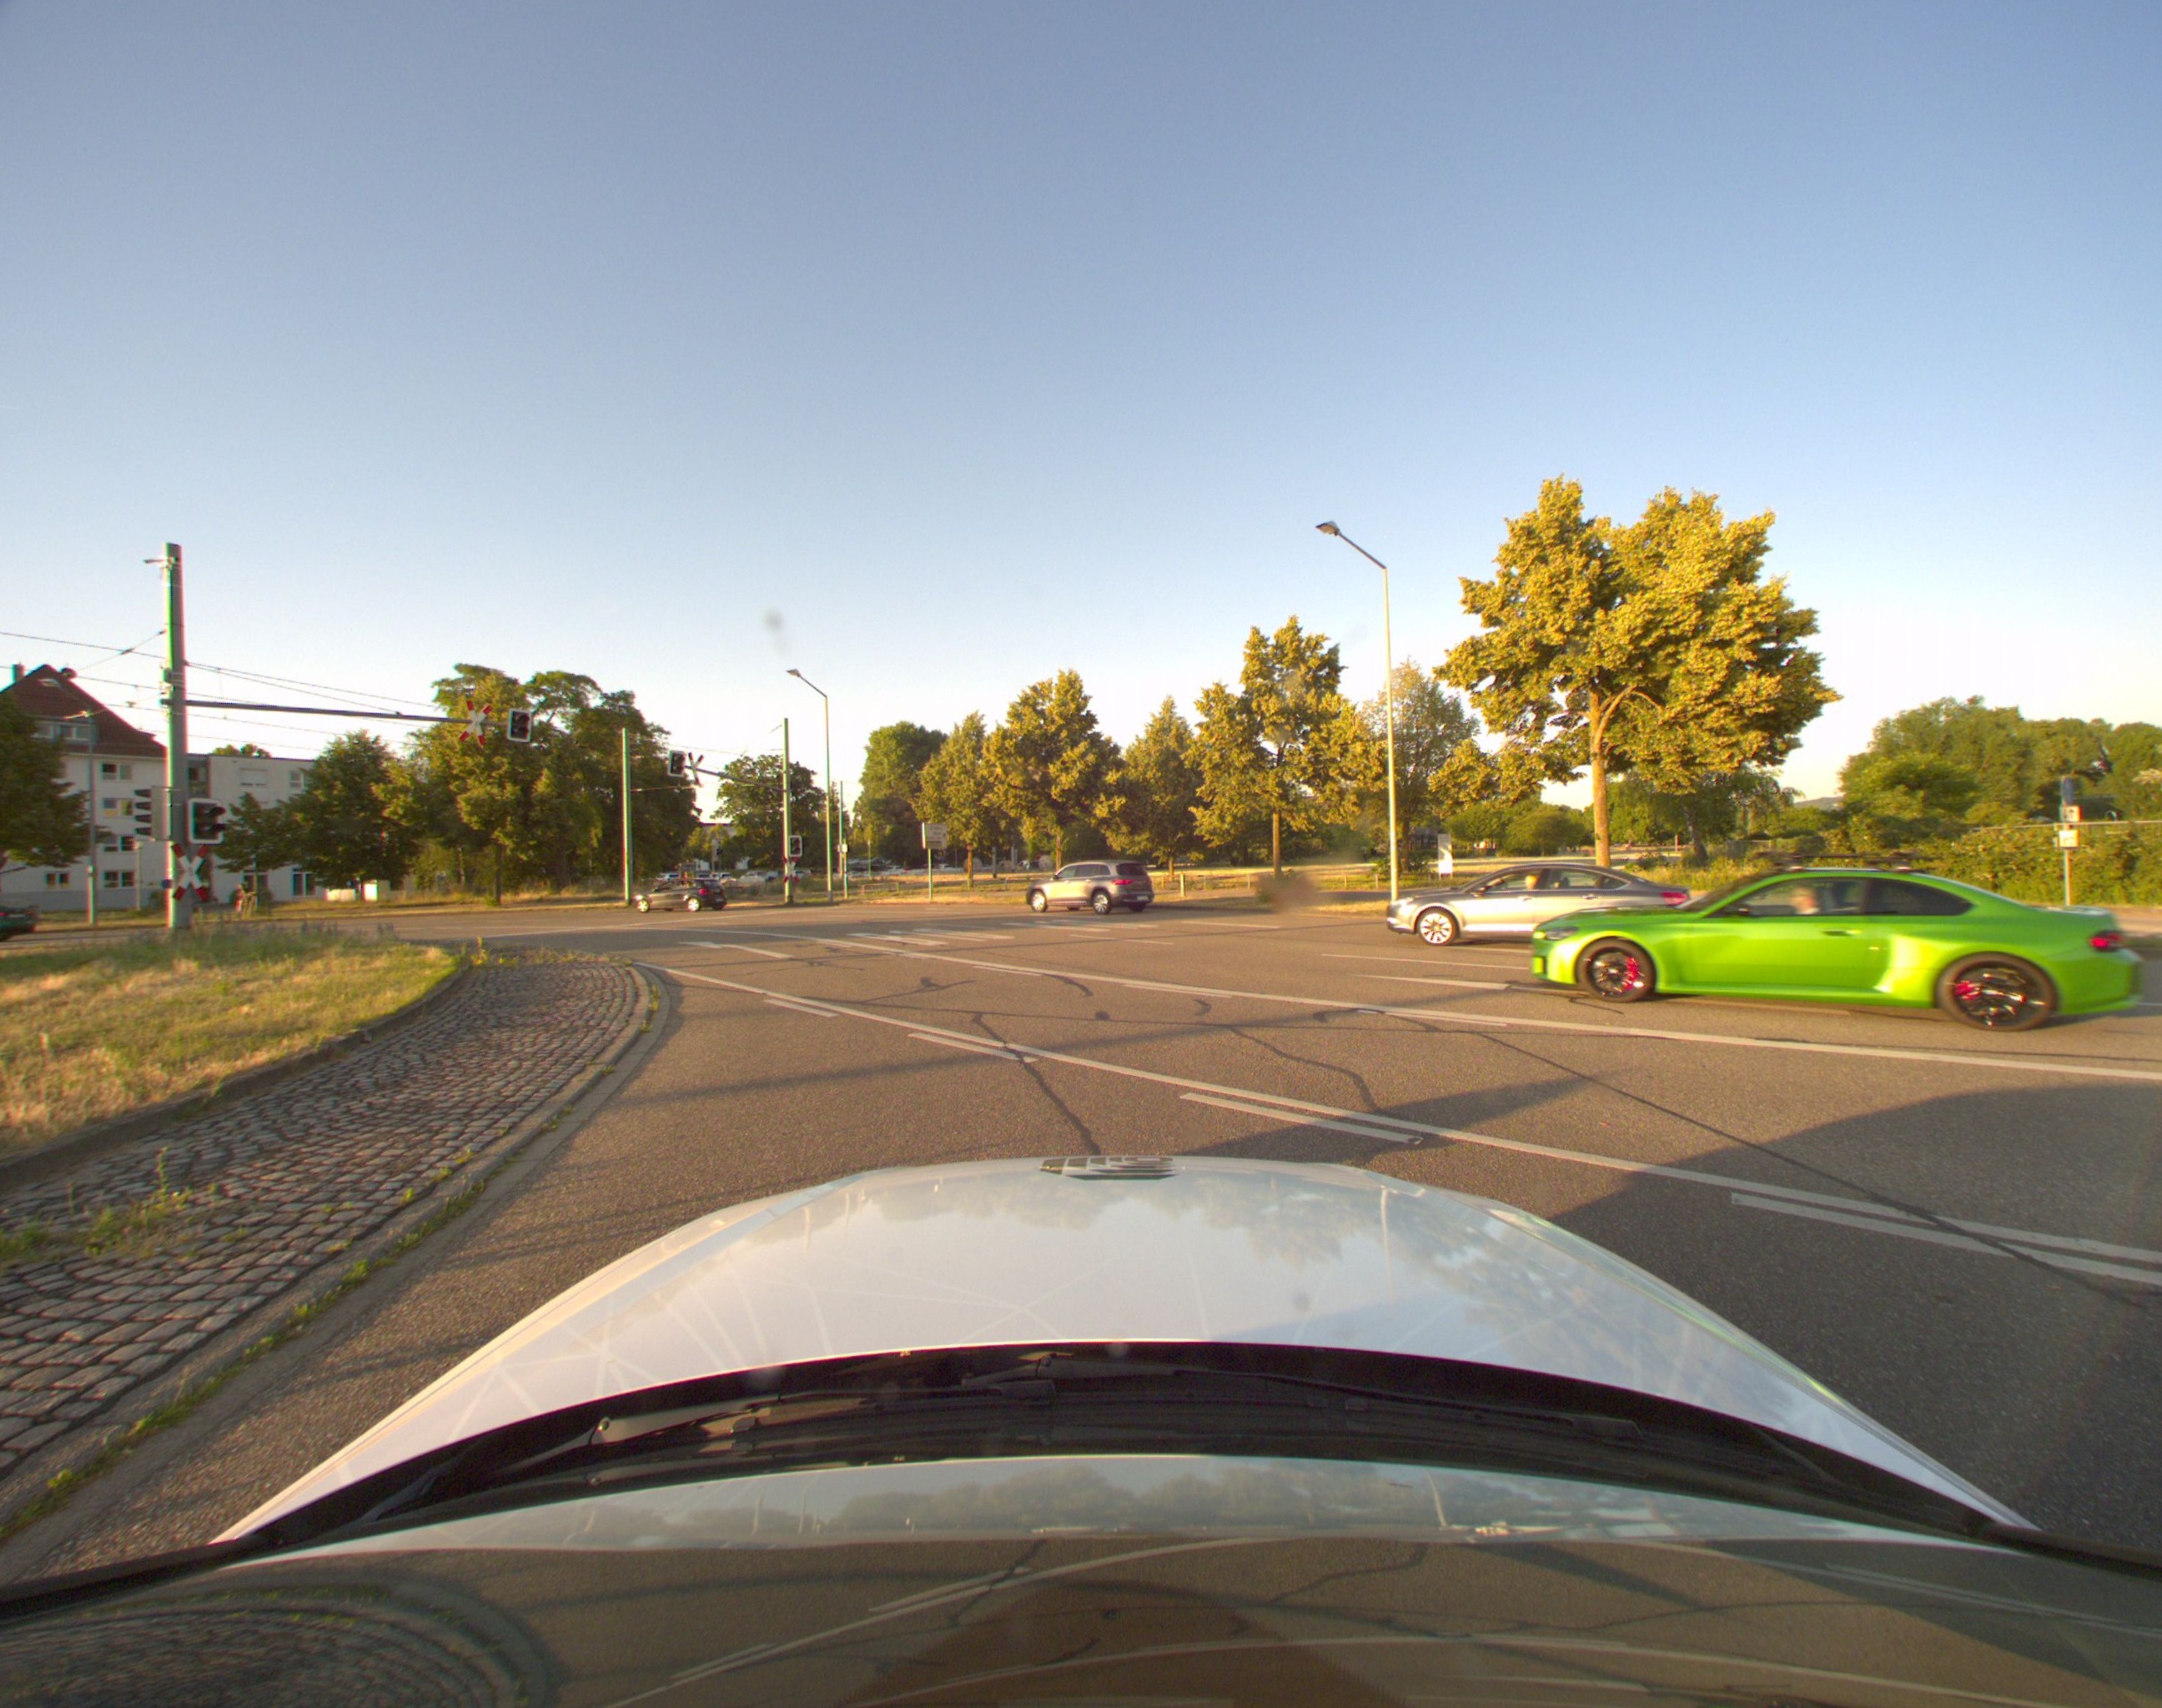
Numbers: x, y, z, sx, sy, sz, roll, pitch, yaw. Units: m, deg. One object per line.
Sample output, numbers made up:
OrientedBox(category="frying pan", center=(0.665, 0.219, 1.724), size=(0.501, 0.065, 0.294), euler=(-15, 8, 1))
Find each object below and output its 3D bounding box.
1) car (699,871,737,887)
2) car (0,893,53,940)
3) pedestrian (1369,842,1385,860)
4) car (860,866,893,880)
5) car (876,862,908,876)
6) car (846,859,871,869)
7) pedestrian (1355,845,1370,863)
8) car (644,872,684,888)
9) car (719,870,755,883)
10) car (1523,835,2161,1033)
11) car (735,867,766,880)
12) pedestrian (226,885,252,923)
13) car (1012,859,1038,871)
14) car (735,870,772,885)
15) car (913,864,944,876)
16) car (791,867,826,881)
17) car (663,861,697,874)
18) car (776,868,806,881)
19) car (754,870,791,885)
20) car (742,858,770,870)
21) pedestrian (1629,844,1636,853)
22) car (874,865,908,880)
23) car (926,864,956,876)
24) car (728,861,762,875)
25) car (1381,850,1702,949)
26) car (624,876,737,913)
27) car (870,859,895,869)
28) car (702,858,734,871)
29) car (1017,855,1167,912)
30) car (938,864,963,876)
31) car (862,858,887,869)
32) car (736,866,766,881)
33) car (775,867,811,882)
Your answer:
OrientedBox(category="car", center=(-39.026, 2.666, 87.535), size=(3.948, 1.604, 2.013), euler=(-2, 0, 34))
OrientedBox(category="car", center=(-35.628, 2.015, 24.969), size=(4.731, 1.371, 1.988), euler=(-2, 0, -18))
OrientedBox(category="pedestrian", center=(26.639, -0.276, 73.317), size=(1.064, 1.617, 0.911), euler=(-2, 0, 4))
OrientedBox(category="car", center=(-26.677, 2.463, 105.981), size=(3.948, 1.604, 2.013), euler=(-2, 0, 34))
OrientedBox(category="car", center=(-29.386, 2.391, 126.693), size=(4.578, 2.013, 1.995), euler=(-2, 0, -7))
OrientedBox(category="car", center=(-41.760, 1.860, 153.014), size=(1.974, 1.816, 4.026), euler=(-2, 0, 37))
OrientedBox(category="pedestrian", center=(25.775, -0.015, 74.583), size=(1.064, 1.617, 0.911), euler=(-2, 0, 4))
OrientedBox(category="car", center=(-42.656, 2.658, 83.317), size=(3.948, 1.604, 2.013), euler=(-2, 0, 34))
OrientedBox(category="car", center=(-46.121, 2.993, 109.137), size=(1.878, 1.662, 4.026), euler=(-2, 0, 37))
OrientedBox(category="car", center=(7.260, 0.676, 8.532), size=(4.427, 1.579, 2.013), euler=(-2, 0, 33))
OrientedBox(category="car", center=(-46.236, 2.761, 113.936), size=(4.005, 1.662, 1.984), euler=(-2, 0, -24))
OrientedBox(category="pedestrian", center=(-43.348, 2.557, 41.939), size=(0.666, 1.893, 0.619), euler=(0, -1, -4))
OrientedBox(category="car", center=(-7.962, 1.503, 115.259), size=(1.748, 1.618, 3.954), euler=(-1, 0, -39))
OrientedBox(category="car", center=(-37.057, 2.687, 92.054), size=(3.948, 1.604, 2.013), euler=(-2, 0, 34))
OrientedBox(category="car", center=(-21.475, 2.294, 114.781), size=(3.948, 1.604, 2.013), euler=(-2, 0, 34))
OrientedBox(category="car", center=(-32.640, 2.439, 97.603), size=(3.948, 1.604, 2.013), euler=(-2, 0, 34))
OrientedBox(category="car", center=(-65.673, 2.207, 133.314), size=(1.974, 2.013, 4.627), euler=(-2, 0, 32))
OrientedBox(category="car", center=(-41.307, 2.860, 115.988), size=(4.001, 1.662, 1.889), euler=(-2, 0, -20))
OrientedBox(category="car", center=(-35.512, 2.689, 93.664), size=(3.948, 1.604, 2.013), euler=(-2, 0, 34))
OrientedBox(category="car", center=(-57.848, 1.777, 144.924), size=(1.974, 2.013, 4.143), euler=(-2, 0, 36))
OrientedBox(category="pedestrian", center=(106.040, -0.982, 156.553), size=(0.984, 1.661, 0.844), euler=(-1, -1, -44))
OrientedBox(category="car", center=(-27.659, 2.661, 118.506), size=(4.578, 2.013, 1.995), euler=(-2, 0, -7))
OrientedBox(category="car", center=(-20.000, 2.350, 116.476), size=(3.948, 1.604, 2.013), euler=(-2, 0, 34))
OrientedBox(category="car", center=(-51.891, 2.098, 125.794), size=(1.974, 2.013, 4.627), euler=(-2, 0, 32))
OrientedBox(category="car", center=(7.885, 0.729, 14.179), size=(4.610, 1.464, 1.899), euler=(-2, -1, 37))
OrientedBox(category="car", center=(-16.805, 1.691, 34.216), size=(3.961, 1.354, 1.700), euler=(-2, 2, 11))
OrientedBox(category="car", center=(-35.694, 1.862, 146.430), size=(3.964, 1.706, 2.005), euler=(-2, 0, 8))
OrientedBox(category="car", center=(-61.935, 1.762, 139.053), size=(1.974, 2.013, 4.628), euler=(-2, 0, 36))
OrientedBox(category="car", center=(0.289, 0.912, 26.069), size=(4.467, 1.637, 2.013), euler=(-2, 0, 40))
OrientedBox(category="car", center=(-20.850, 2.504, 129.983), size=(2.008, 1.752, 4.549), euler=(-1, 1, -35))
OrientedBox(category="car", center=(-37.971, 1.751, 150.036), size=(1.975, 2.013, 4.025), euler=(-2, 0, 42))
OrientedBox(category="car", center=(-47.786, 2.749, 117.908), size=(4.006, 2.013, 1.984), euler=(-2, 0, -24))
OrientedBox(category="car", center=(-33.705, 2.429, 95.424), size=(3.948, 1.604, 2.013), euler=(-2, 0, 34))
